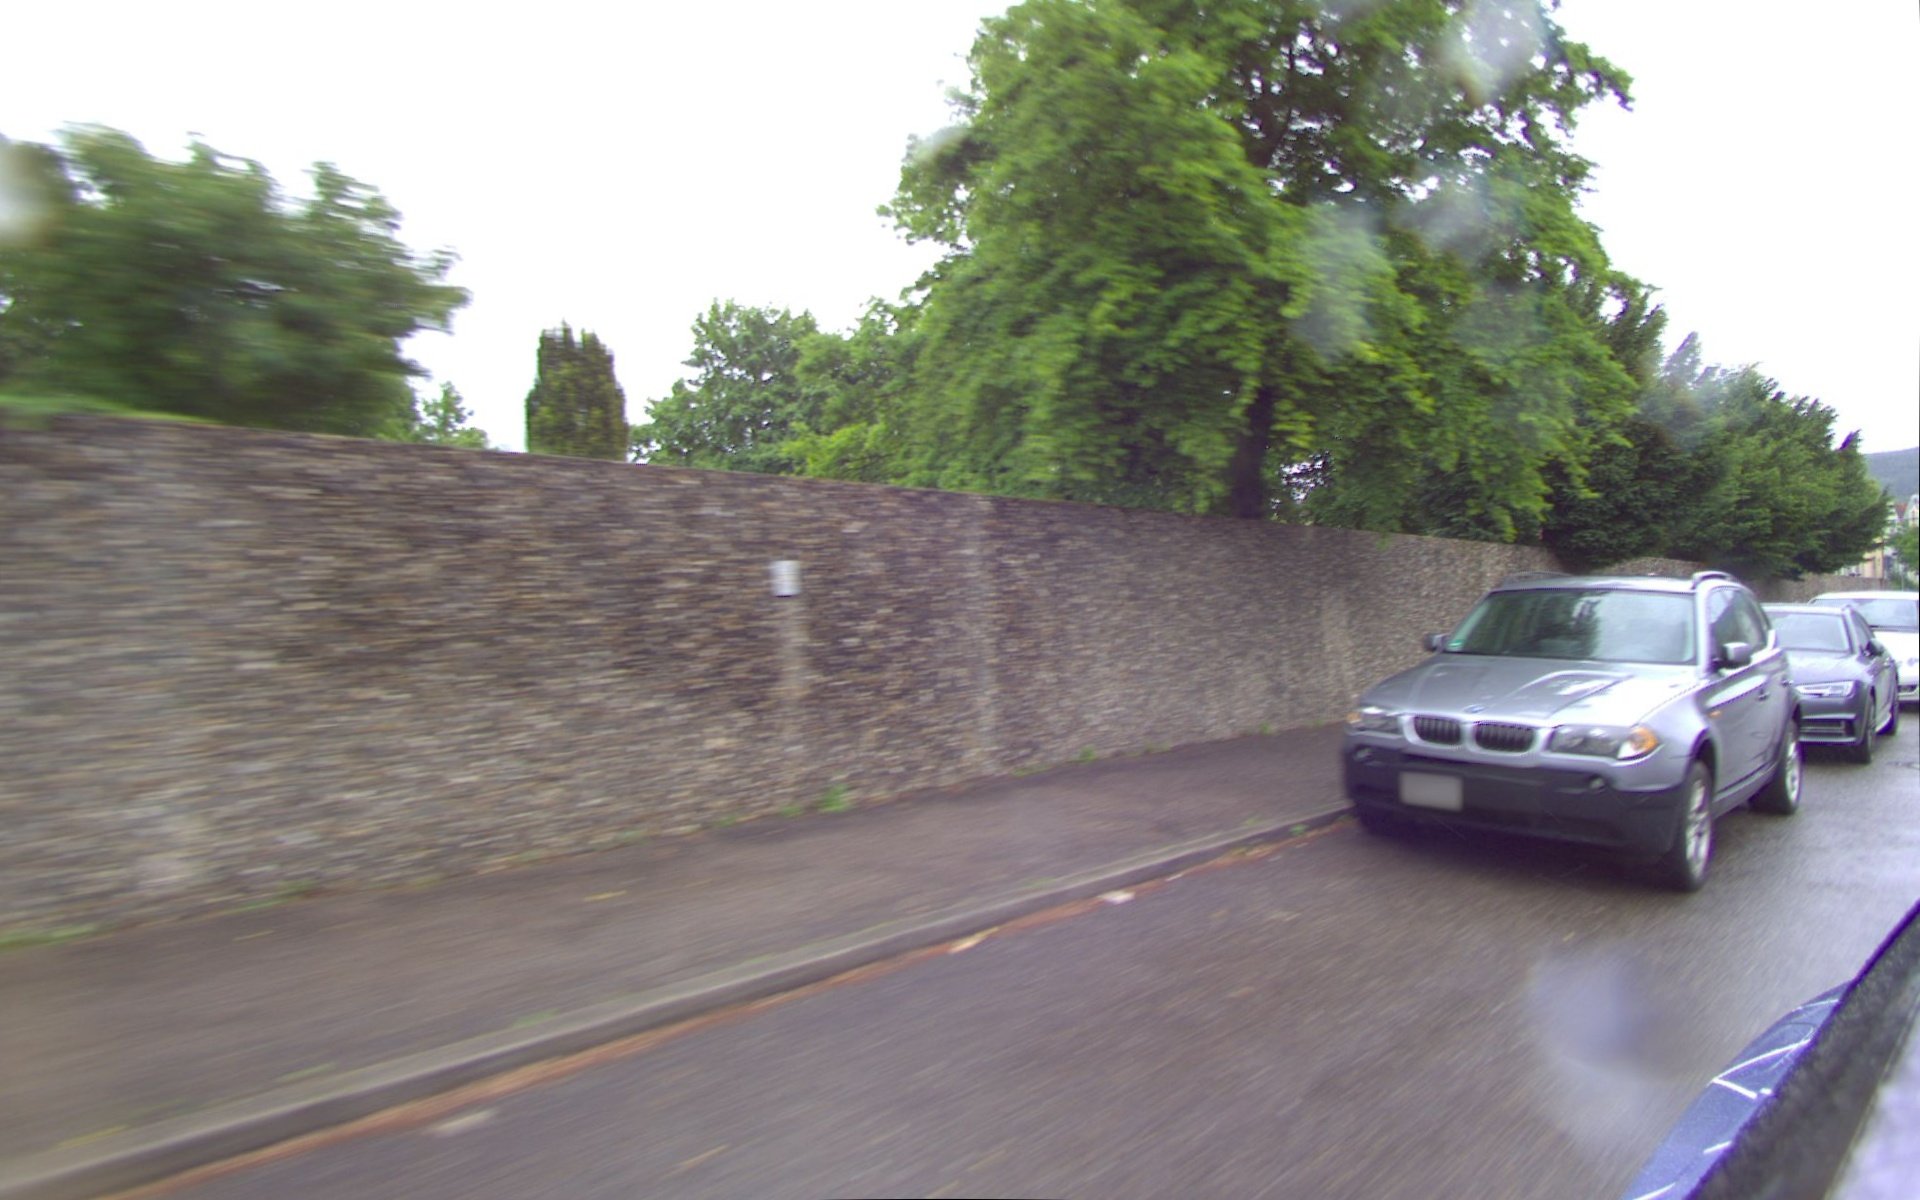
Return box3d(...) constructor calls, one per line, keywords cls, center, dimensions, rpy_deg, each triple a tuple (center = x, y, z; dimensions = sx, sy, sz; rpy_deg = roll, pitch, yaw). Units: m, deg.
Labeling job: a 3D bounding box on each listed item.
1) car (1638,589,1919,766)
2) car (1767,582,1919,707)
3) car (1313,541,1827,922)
box3d(cls="car", center=(8.917, 0.637, 10.844), dimensions=(4.618, 1.465, 1.766), rpy_deg=(-1, 1, -43))
box3d(cls="car", center=(13.361, 0.542, 14.686), dimensions=(3.811, 1.593, 1.818), rpy_deg=(-1, 1, -39))
box3d(cls="car", center=(4.222, 0.548, 6.643), dimensions=(4.422, 1.689, 1.744), rpy_deg=(-1, 1, -43))
